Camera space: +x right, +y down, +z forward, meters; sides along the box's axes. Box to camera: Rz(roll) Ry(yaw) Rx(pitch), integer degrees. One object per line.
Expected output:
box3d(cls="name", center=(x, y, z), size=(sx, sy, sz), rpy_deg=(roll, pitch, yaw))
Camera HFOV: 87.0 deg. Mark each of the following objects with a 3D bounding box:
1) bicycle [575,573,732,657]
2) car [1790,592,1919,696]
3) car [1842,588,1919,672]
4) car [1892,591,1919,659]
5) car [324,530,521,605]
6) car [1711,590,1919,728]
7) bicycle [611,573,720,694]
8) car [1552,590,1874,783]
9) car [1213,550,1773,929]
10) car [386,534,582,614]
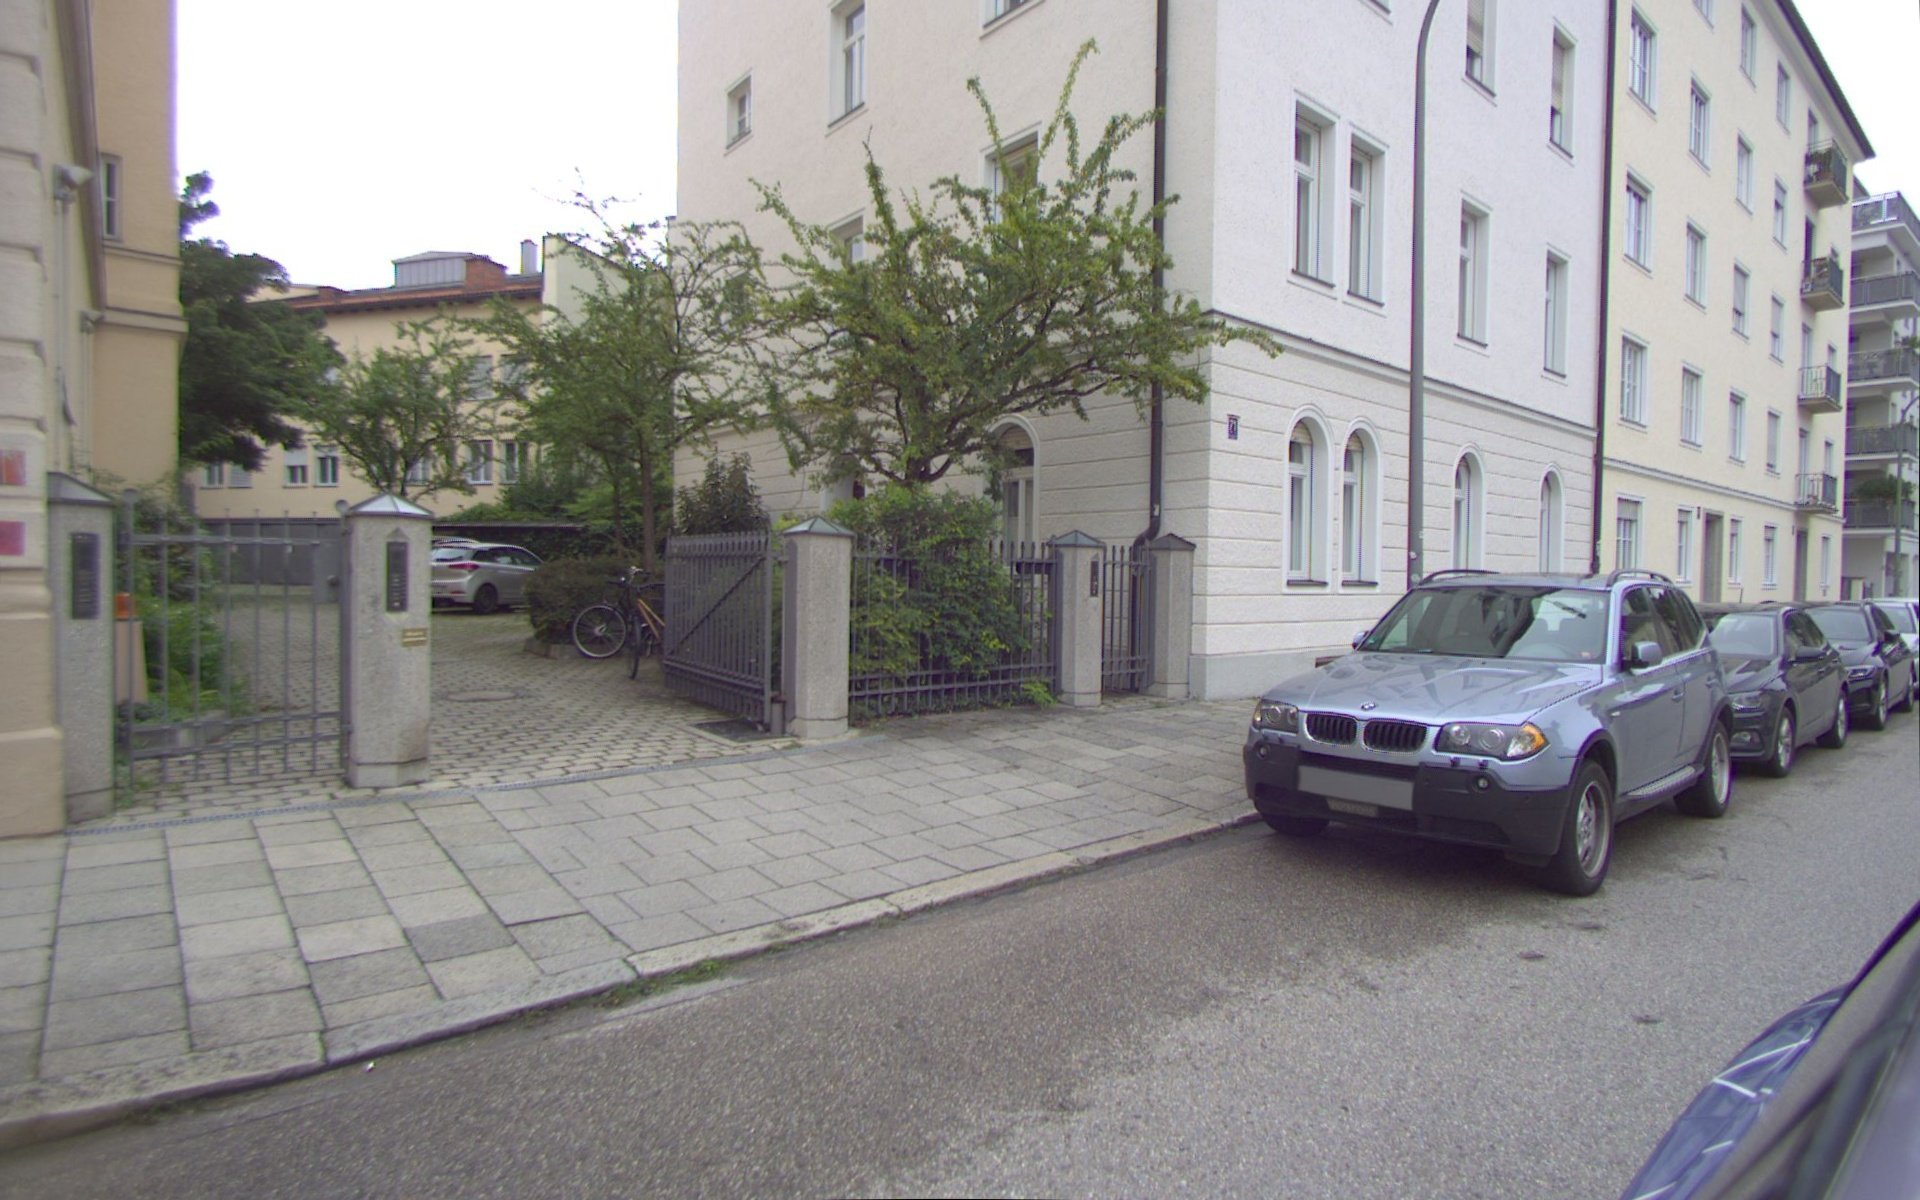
box3d(cls="bicycle", center=(-4.052, 0.171, 13.461), size=(1.916, 1.027, 0.581), rpy_deg=(-2, 1, -35))
box3d(cls="car", center=(14.852, 0.615, 16.318), size=(4.096, 1.445, 1.682), rpy_deg=(-1, 2, -42))
box3d(cls="car", center=(18.807, 0.539, 19.927), size=(4.096, 1.500, 1.682), rpy_deg=(-1, 2, -42))
box3d(cls="car", center=(22.401, 0.536, 22.733), size=(4.366, 1.427, 1.682), rpy_deg=(-1, 2, -41))
box3d(cls="car", center=(-12.504, -0.791, 23.870), size=(1.904, 1.567, 4.231), rpy_deg=(2, 2, 11))
box3d(cls="car", center=(11.210, 0.621, 13.008), size=(4.316, 1.445, 1.682), rpy_deg=(-1, 2, -42))
box3d(cls="bicycle", center=(-3.200, 0.307, 10.882), size=(0.570, 1.107, 1.880), rpy_deg=(0, 4, -34))
box3d(cls="car", center=(7.401, 0.652, 9.807), size=(4.016, 1.445, 1.682), rpy_deg=(-1, 2, -41))
box3d(cls="car", center=(3.647, 0.566, 6.520), size=(4.380, 1.654, 1.725), rpy_deg=(-1, 2, -41))
box3d(cls="car", center=(-10.217, -0.606, 22.126), size=(1.754, 1.533, 4.231), rpy_deg=(2, 2, 11))
